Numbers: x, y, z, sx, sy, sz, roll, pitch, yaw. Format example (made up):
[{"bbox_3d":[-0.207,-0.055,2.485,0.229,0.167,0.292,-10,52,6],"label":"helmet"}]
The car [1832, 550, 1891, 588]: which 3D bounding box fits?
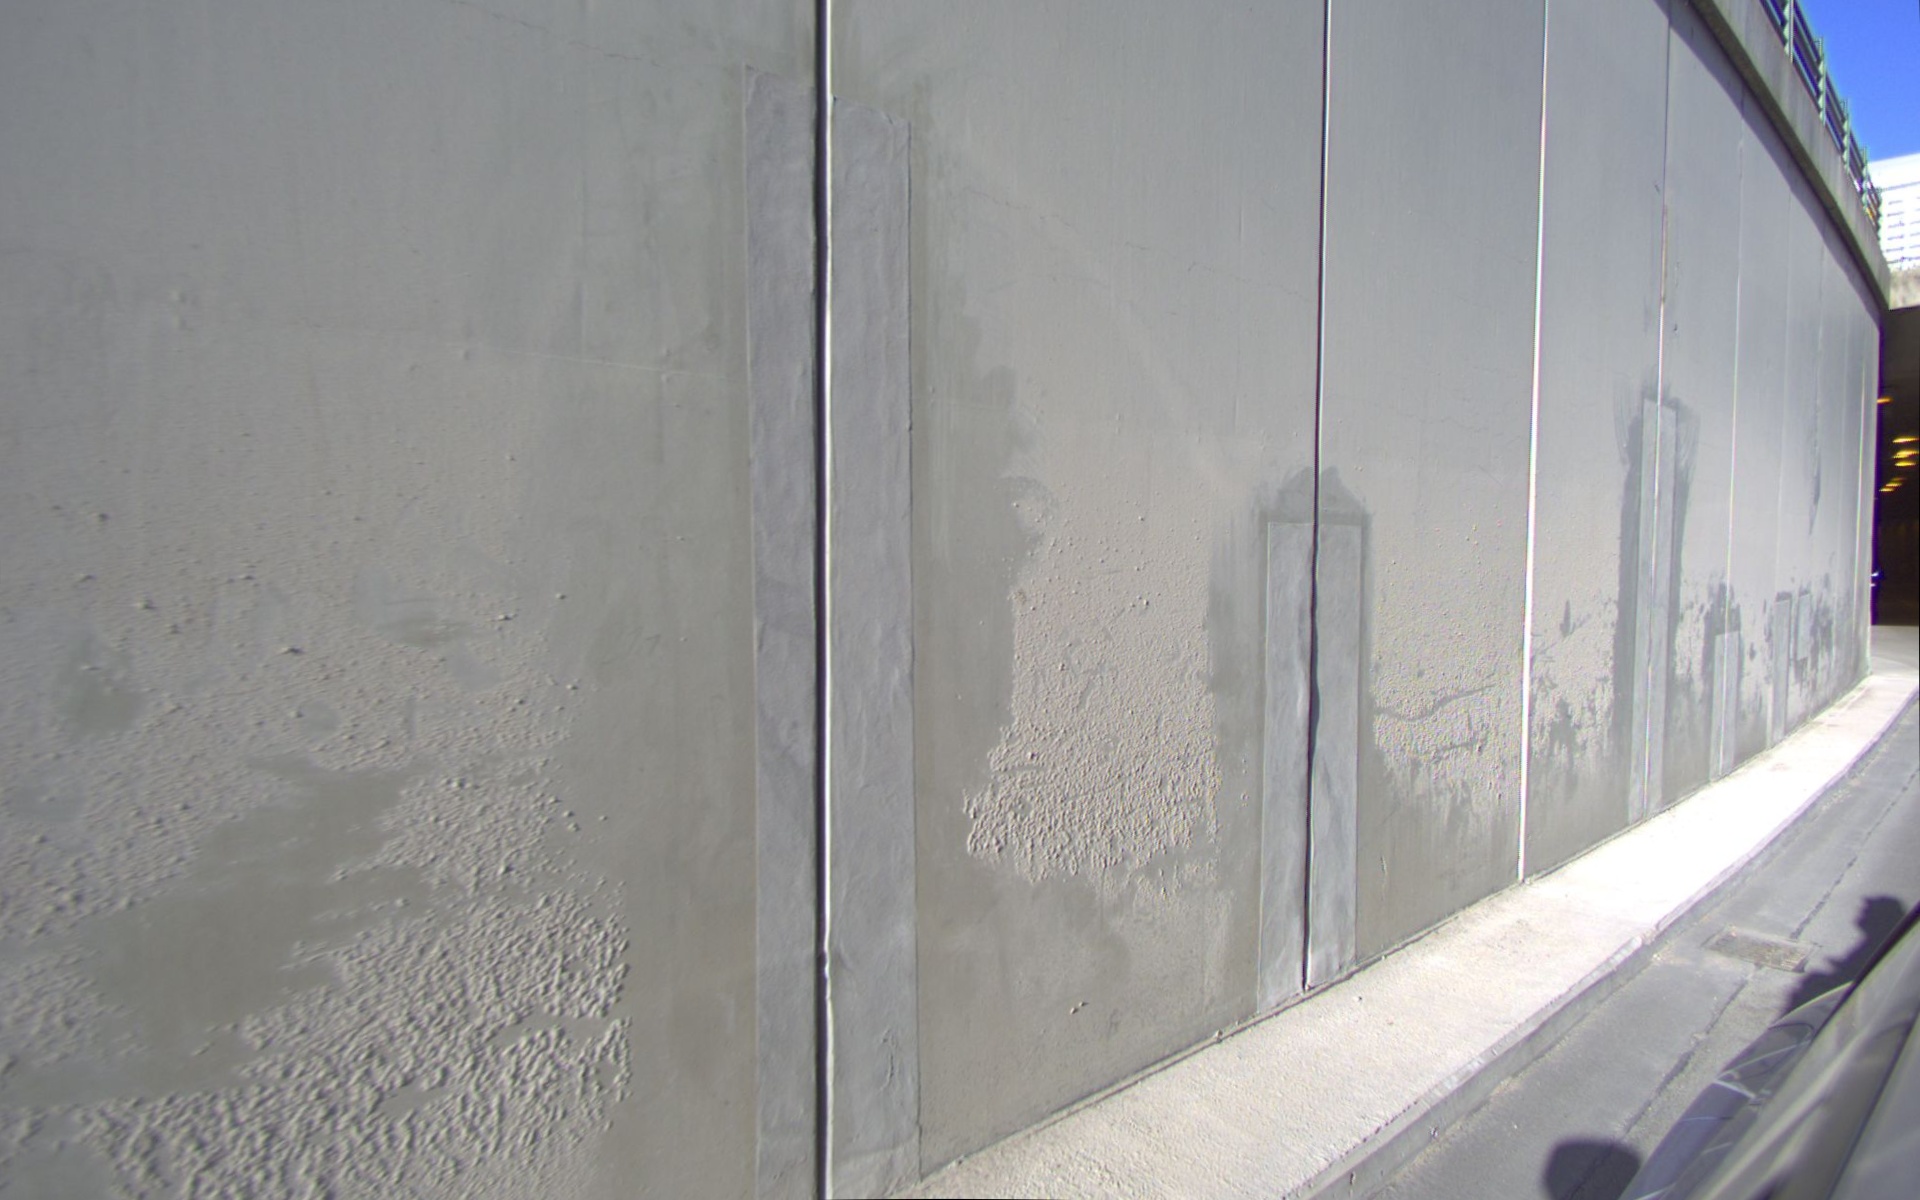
[{"bbox_3d":[41.487,-1.451,46.657,1.889,1.564,4.181,0,3,40],"label":"car"}]
